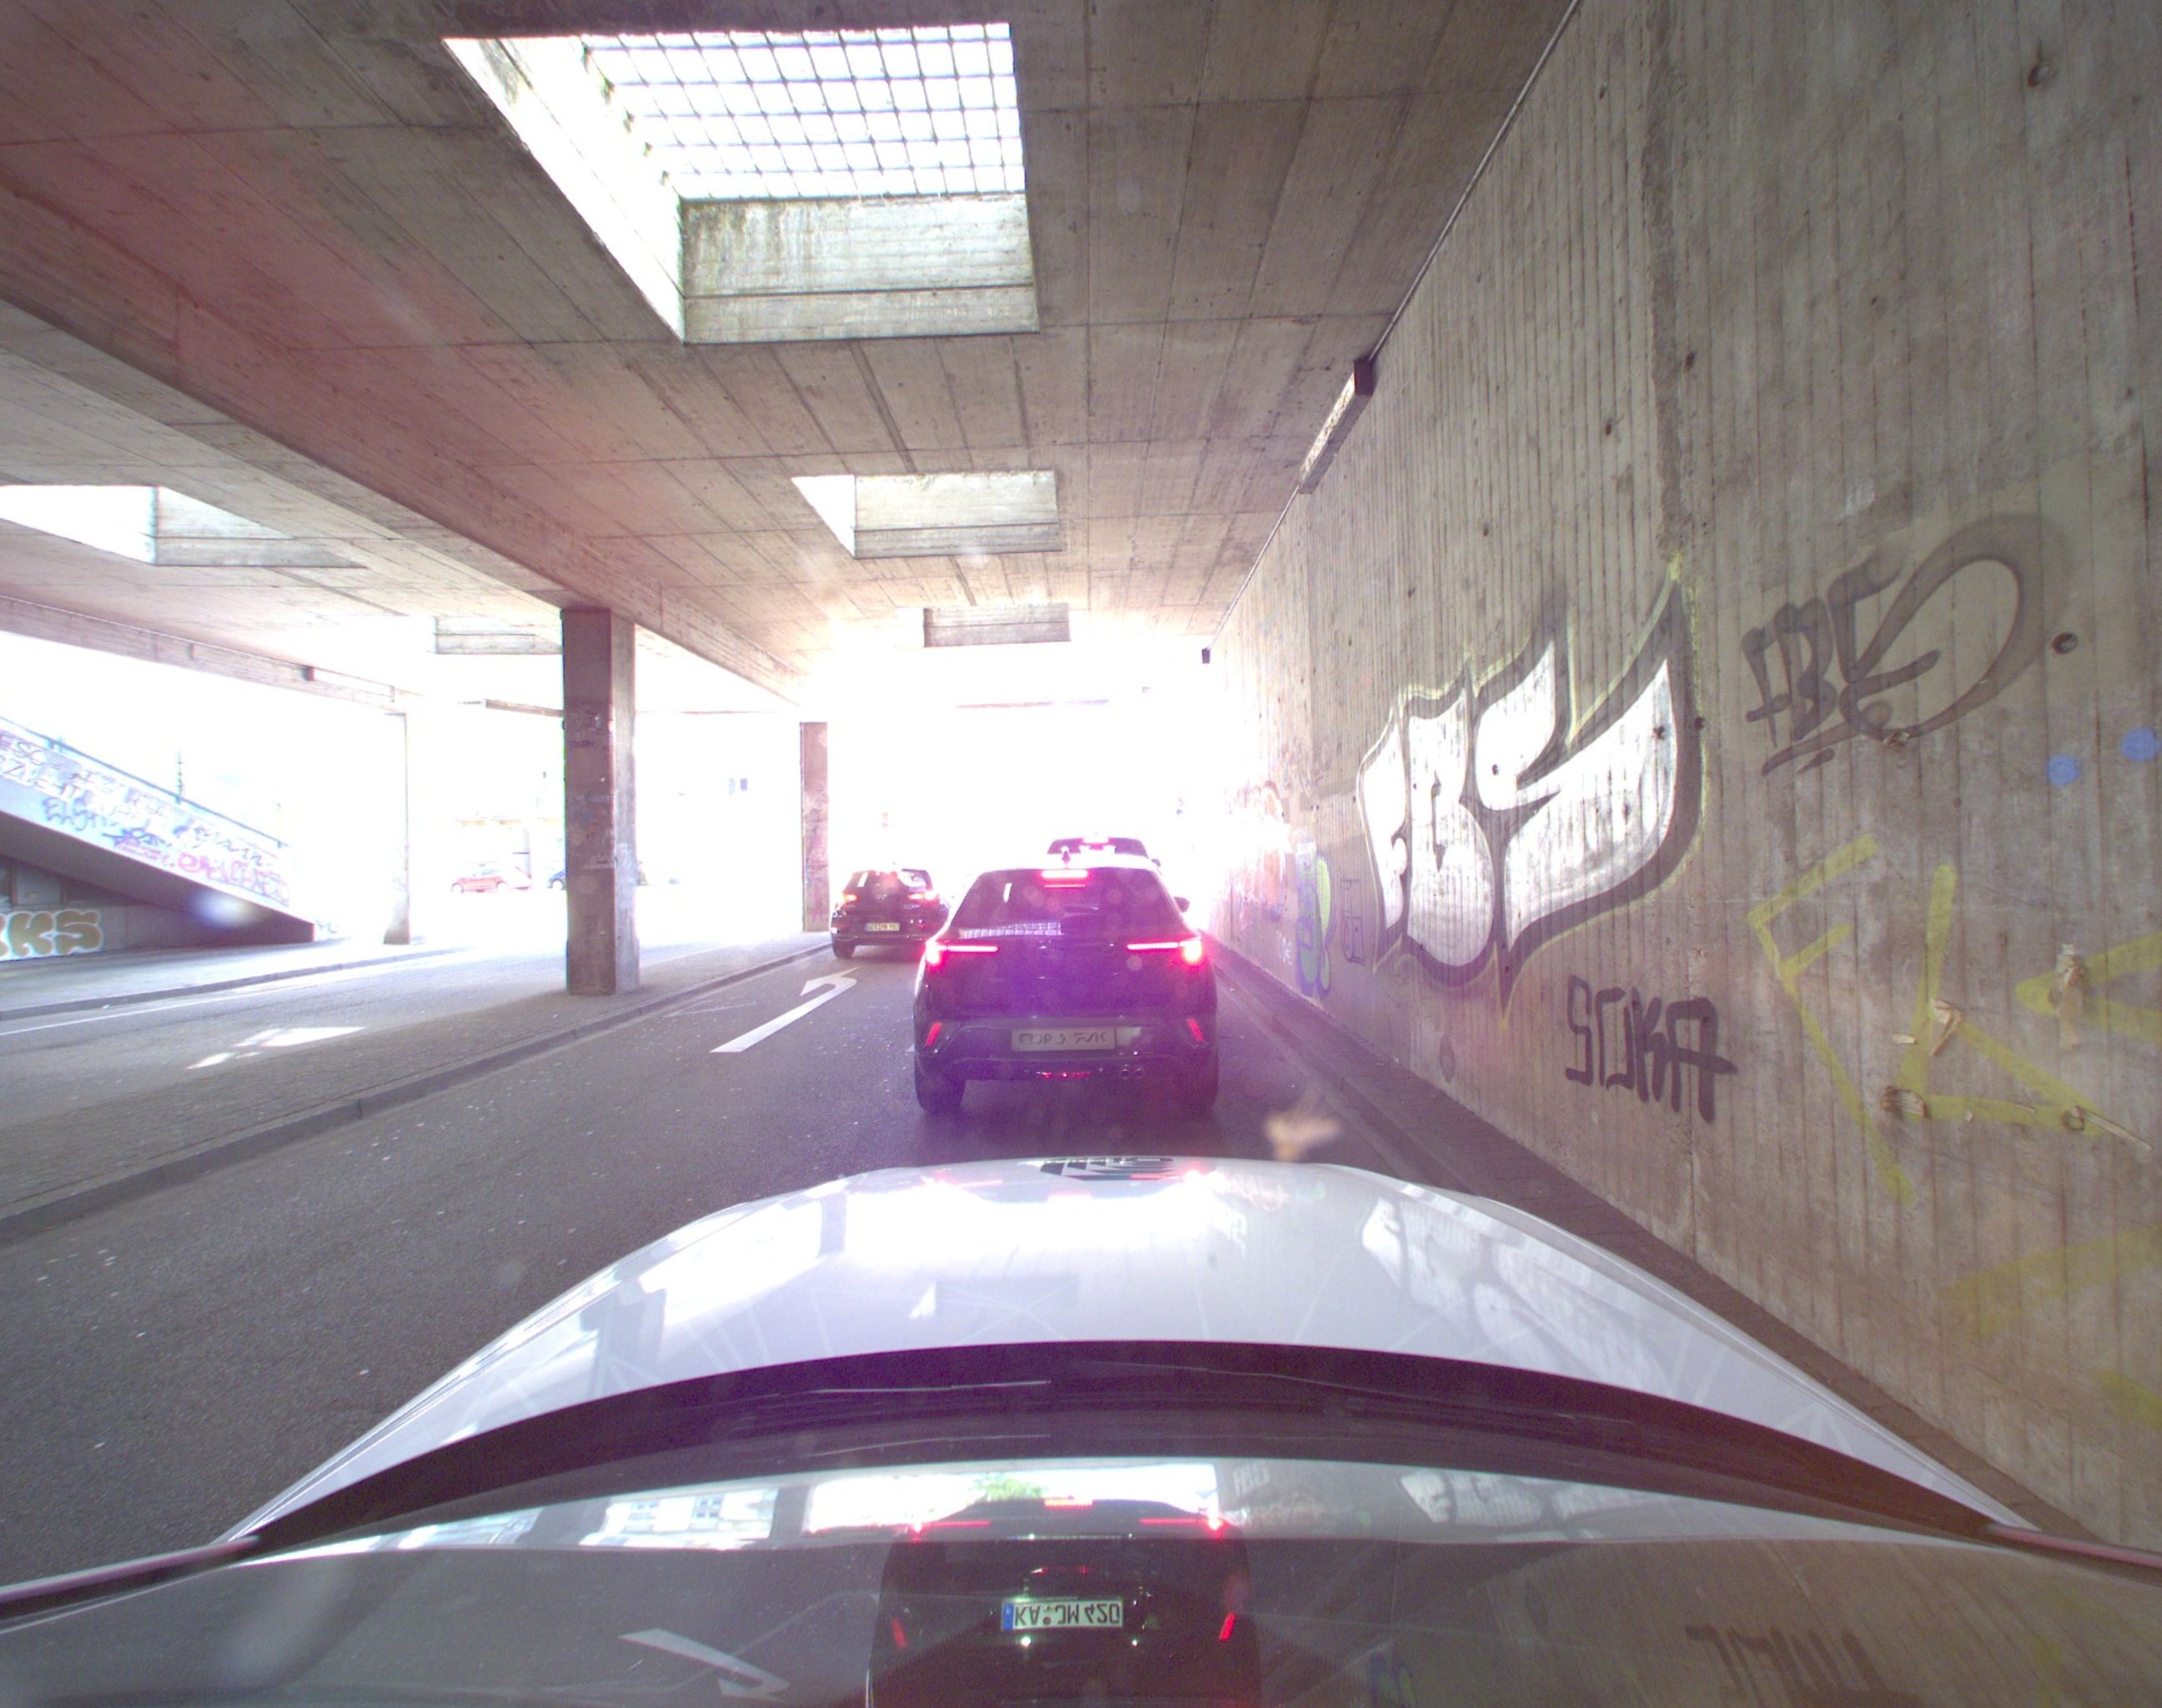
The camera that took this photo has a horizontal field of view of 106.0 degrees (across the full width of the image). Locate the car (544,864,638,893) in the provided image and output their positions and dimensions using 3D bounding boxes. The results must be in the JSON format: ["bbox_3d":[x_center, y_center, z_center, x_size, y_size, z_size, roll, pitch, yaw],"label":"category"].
[{"bbox_3d":[-27.173,1.325,45.252,4.096,1.475,1.737,-1,-1,0],"label":"car"}]

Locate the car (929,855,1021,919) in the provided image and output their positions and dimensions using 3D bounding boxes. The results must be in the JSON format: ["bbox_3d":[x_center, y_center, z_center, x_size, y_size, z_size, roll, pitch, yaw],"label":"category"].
[{"bbox_3d":[-2.654,0.779,21.179,1.755,1.480,3.846,-1,0,2],"label":"car"}]

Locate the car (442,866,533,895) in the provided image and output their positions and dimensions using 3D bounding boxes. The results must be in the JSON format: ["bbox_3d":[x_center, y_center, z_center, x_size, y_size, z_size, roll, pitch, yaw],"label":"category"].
[{"bbox_3d":[-32.929,1.455,45.228,3.748,1.475,1.749,-1,-1,0],"label":"car"}]

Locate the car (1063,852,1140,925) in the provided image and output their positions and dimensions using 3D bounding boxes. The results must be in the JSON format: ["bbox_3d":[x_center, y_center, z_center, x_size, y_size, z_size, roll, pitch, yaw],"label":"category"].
[{"bbox_3d":[0.498,0.741,19.351,1.603,1.513,4.055,-1,0,2],"label":"car"}]

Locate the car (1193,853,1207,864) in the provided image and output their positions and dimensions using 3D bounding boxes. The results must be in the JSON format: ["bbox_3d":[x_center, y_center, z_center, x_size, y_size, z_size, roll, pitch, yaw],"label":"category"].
[{"bbox_3d":[19.146,0.753,130.945,1.742,1.667,3.958,-1,-1,13],"label":"car"}]

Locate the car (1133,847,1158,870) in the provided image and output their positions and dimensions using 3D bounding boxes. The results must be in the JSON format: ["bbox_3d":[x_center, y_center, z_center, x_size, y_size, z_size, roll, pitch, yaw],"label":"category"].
[{"bbox_3d":[4.962,0.338,62.221,1.745,1.667,3.950,-1,0,6],"label":"car"}]

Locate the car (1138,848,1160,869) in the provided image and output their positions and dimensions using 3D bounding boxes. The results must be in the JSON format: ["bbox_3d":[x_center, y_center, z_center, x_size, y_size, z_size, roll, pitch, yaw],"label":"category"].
[{"bbox_3d":[5.748,0.378,68.325,1.745,1.667,3.950,-1,0,6],"label":"car"}]

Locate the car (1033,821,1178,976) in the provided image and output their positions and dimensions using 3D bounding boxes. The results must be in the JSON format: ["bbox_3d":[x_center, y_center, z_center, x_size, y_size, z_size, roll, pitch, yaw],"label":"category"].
[{"bbox_3d":[0.364,0.549,12.132,1.755,1.883,4.148,-1,0,2],"label":"car"}]

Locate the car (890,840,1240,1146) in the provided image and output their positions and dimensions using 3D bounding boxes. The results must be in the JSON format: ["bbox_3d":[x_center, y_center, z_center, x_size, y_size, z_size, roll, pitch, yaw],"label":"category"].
[{"bbox_3d":[-0.019,0.712,6.193,1.755,1.531,4.091,-1,0,2],"label":"car"}]

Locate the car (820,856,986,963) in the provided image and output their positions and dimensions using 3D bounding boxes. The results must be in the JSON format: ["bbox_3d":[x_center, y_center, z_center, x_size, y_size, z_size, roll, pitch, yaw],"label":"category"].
[{"bbox_3d":[-2.742,0.785,13.451,1.755,1.480,3.846,-1,0,2],"label":"car"}]

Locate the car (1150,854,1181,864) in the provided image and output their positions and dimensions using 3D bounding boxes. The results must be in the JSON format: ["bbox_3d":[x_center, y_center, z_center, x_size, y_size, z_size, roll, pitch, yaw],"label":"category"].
[{"bbox_3d":[13.894,0.792,134.109,4.828,1.667,1.807,0,-1,-29],"label":"car"}]
